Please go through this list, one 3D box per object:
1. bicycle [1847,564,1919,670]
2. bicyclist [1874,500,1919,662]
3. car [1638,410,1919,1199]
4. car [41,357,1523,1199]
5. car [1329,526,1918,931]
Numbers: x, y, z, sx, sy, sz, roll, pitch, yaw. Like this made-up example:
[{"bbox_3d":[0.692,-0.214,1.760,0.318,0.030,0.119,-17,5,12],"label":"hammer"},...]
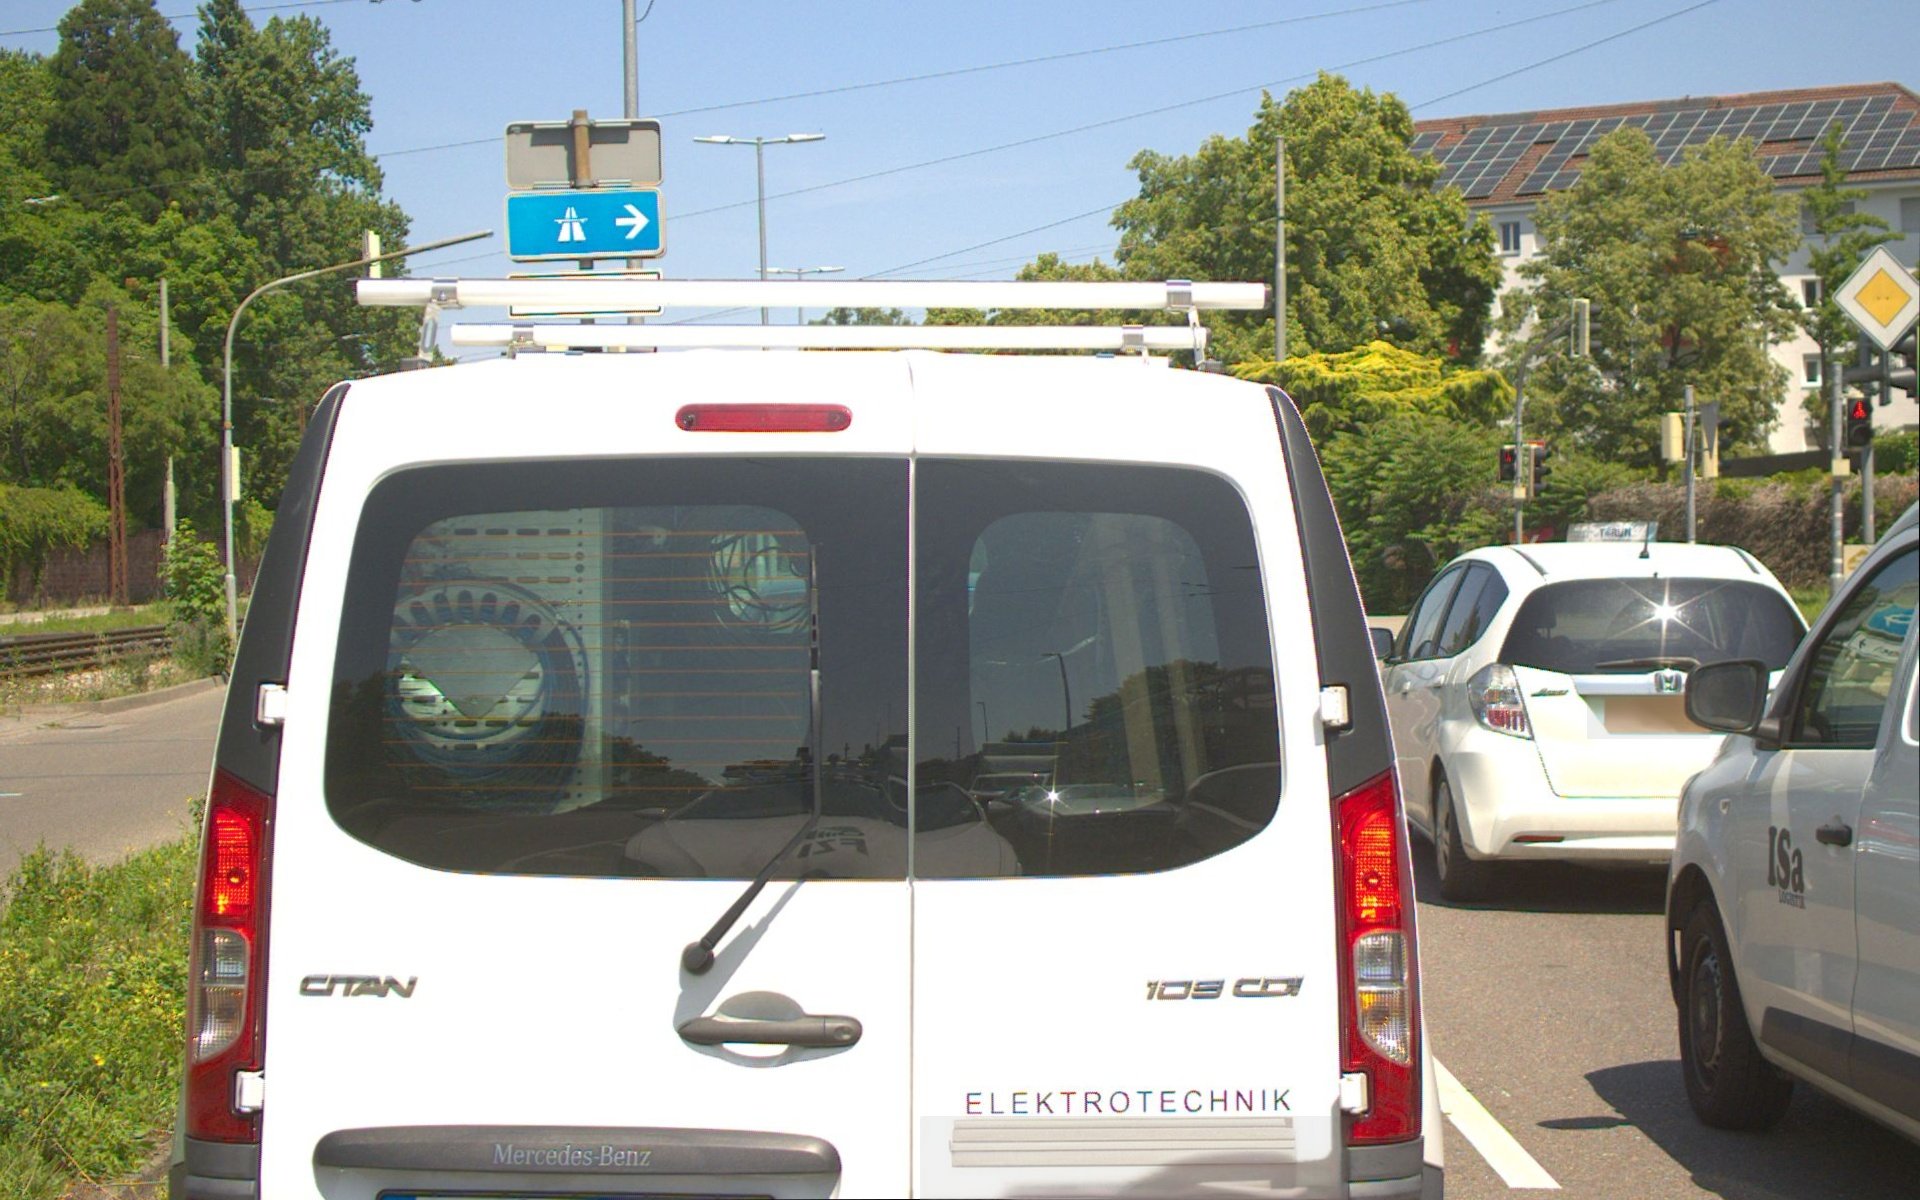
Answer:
[{"bbox_3d":[10.800,0.179,38.423,0.892,1.155,1.957,-1,1,-14],"label":"bicycle"},{"bbox_3d":[10.837,-0.218,38.396,0.973,1.782,0.726,0,1,-14],"label":"bicyclist"},{"bbox_3d":[2.774,0.515,7.331,1.727,1.782,4.065,1,1,-2],"label":"car"},{"bbox_3d":[-0.243,0.532,6.435,1.821,1.734,4.396,0,1,-1],"label":"car"},{"bbox_3d":[2.839,0.468,15.607,1.835,1.563,4.000,1,1,-1],"label":"car"}]
